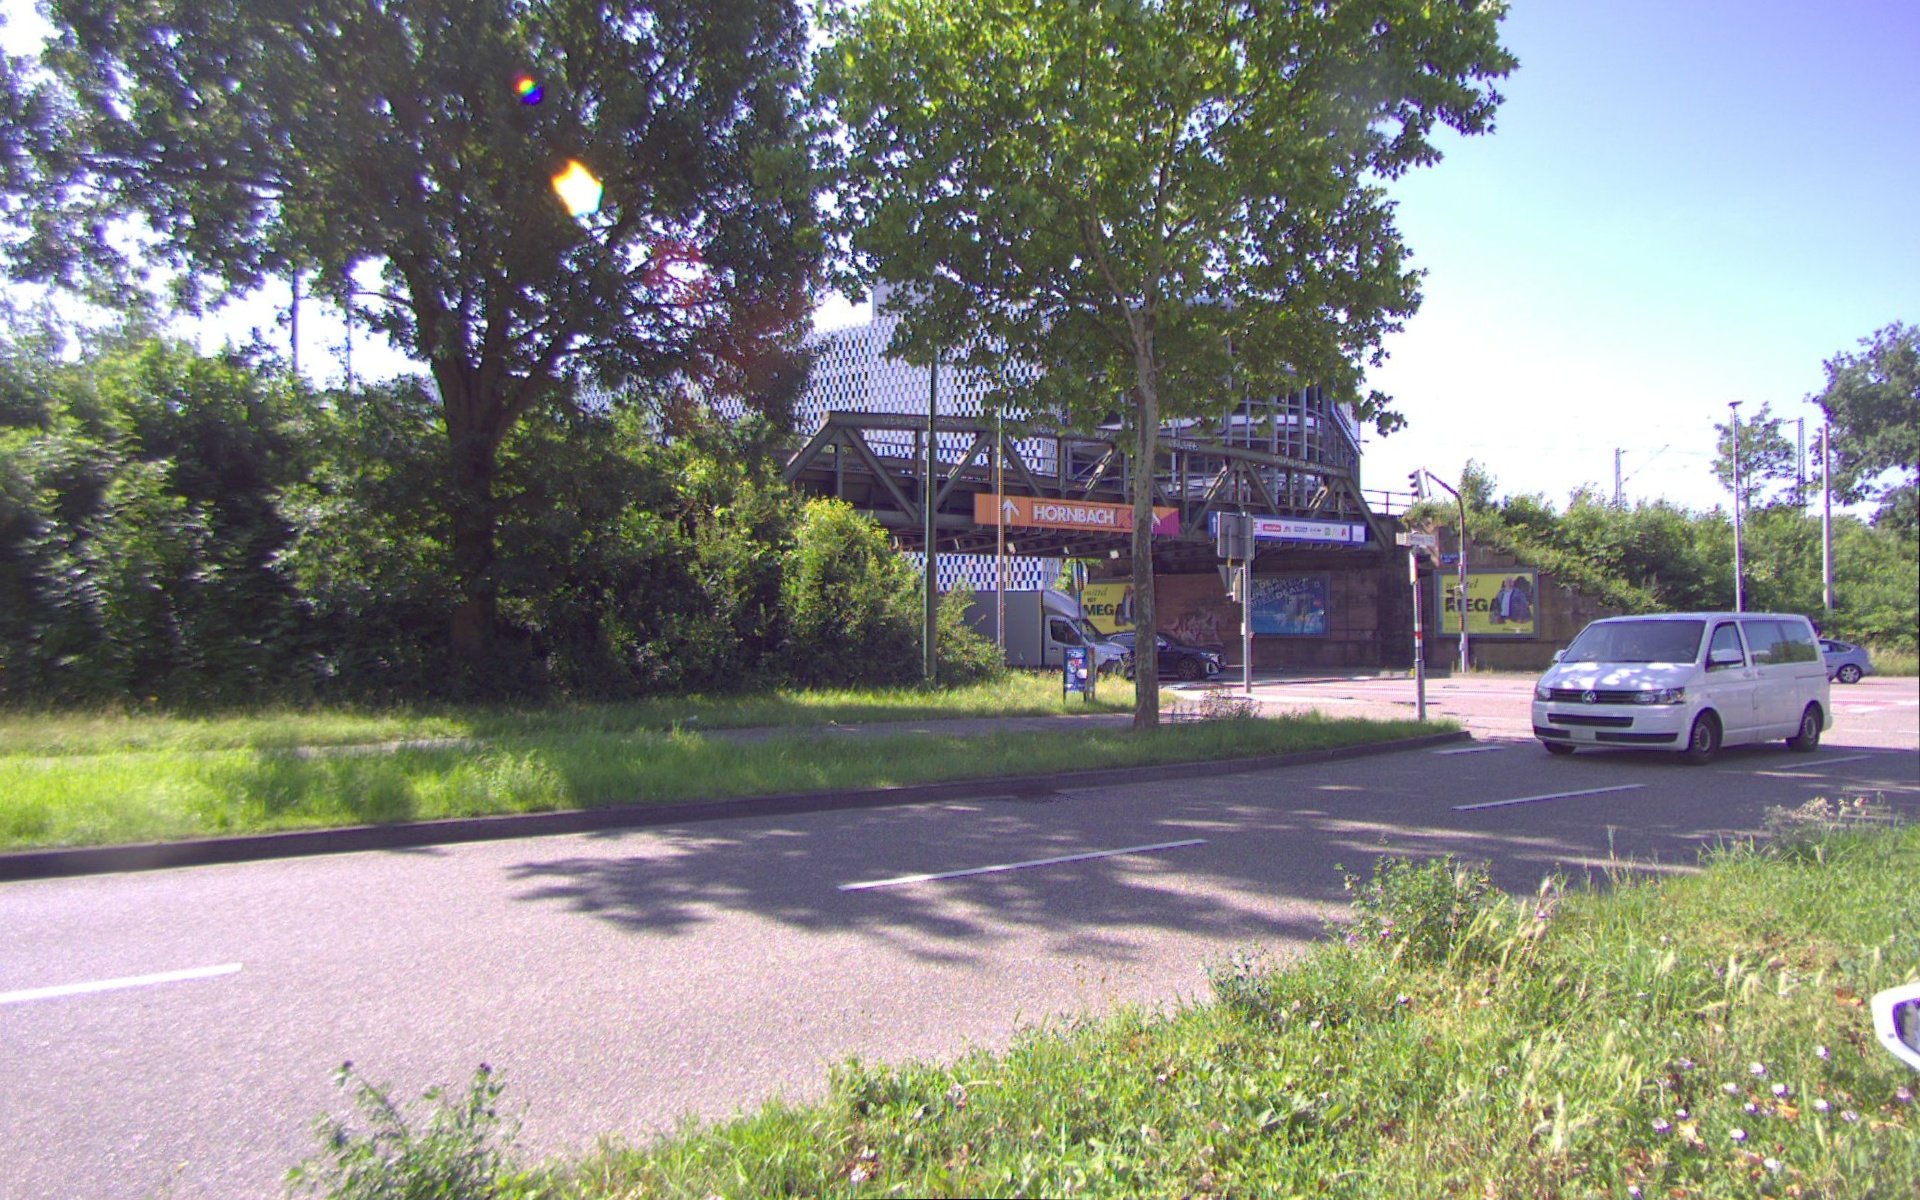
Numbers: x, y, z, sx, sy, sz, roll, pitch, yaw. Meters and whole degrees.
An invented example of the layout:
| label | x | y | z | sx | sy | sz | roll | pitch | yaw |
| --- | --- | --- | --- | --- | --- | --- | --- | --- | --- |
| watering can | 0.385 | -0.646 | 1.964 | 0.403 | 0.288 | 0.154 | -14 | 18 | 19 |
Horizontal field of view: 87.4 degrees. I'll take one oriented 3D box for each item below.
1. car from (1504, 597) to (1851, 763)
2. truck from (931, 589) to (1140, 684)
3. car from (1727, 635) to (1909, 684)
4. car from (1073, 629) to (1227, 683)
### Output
| label | x | y | z | sx | sy | sz | roll | pitch | yaw |
| --- | --- | --- | --- | --- | --- | --- | --- | --- | --- |
| car | 9.852 | 1.042 | 13.714 | 4.929 | 1.915 | 1.985 | 2 | -4 | -30 |
| truck | 2.351 | 1.072 | 31.847 | 6.286 | 2.748 | 1.998 | 1 | -1 | 26 |
| car | 28.422 | 1.956 | 33.434 | 4.143 | 1.427 | 1.918 | 1 | -1 | 16 |
| car | 6.489 | 1.872 | 34.382 | 4.957 | 1.617 | 1.526 | 1 | -1 | 24 |
